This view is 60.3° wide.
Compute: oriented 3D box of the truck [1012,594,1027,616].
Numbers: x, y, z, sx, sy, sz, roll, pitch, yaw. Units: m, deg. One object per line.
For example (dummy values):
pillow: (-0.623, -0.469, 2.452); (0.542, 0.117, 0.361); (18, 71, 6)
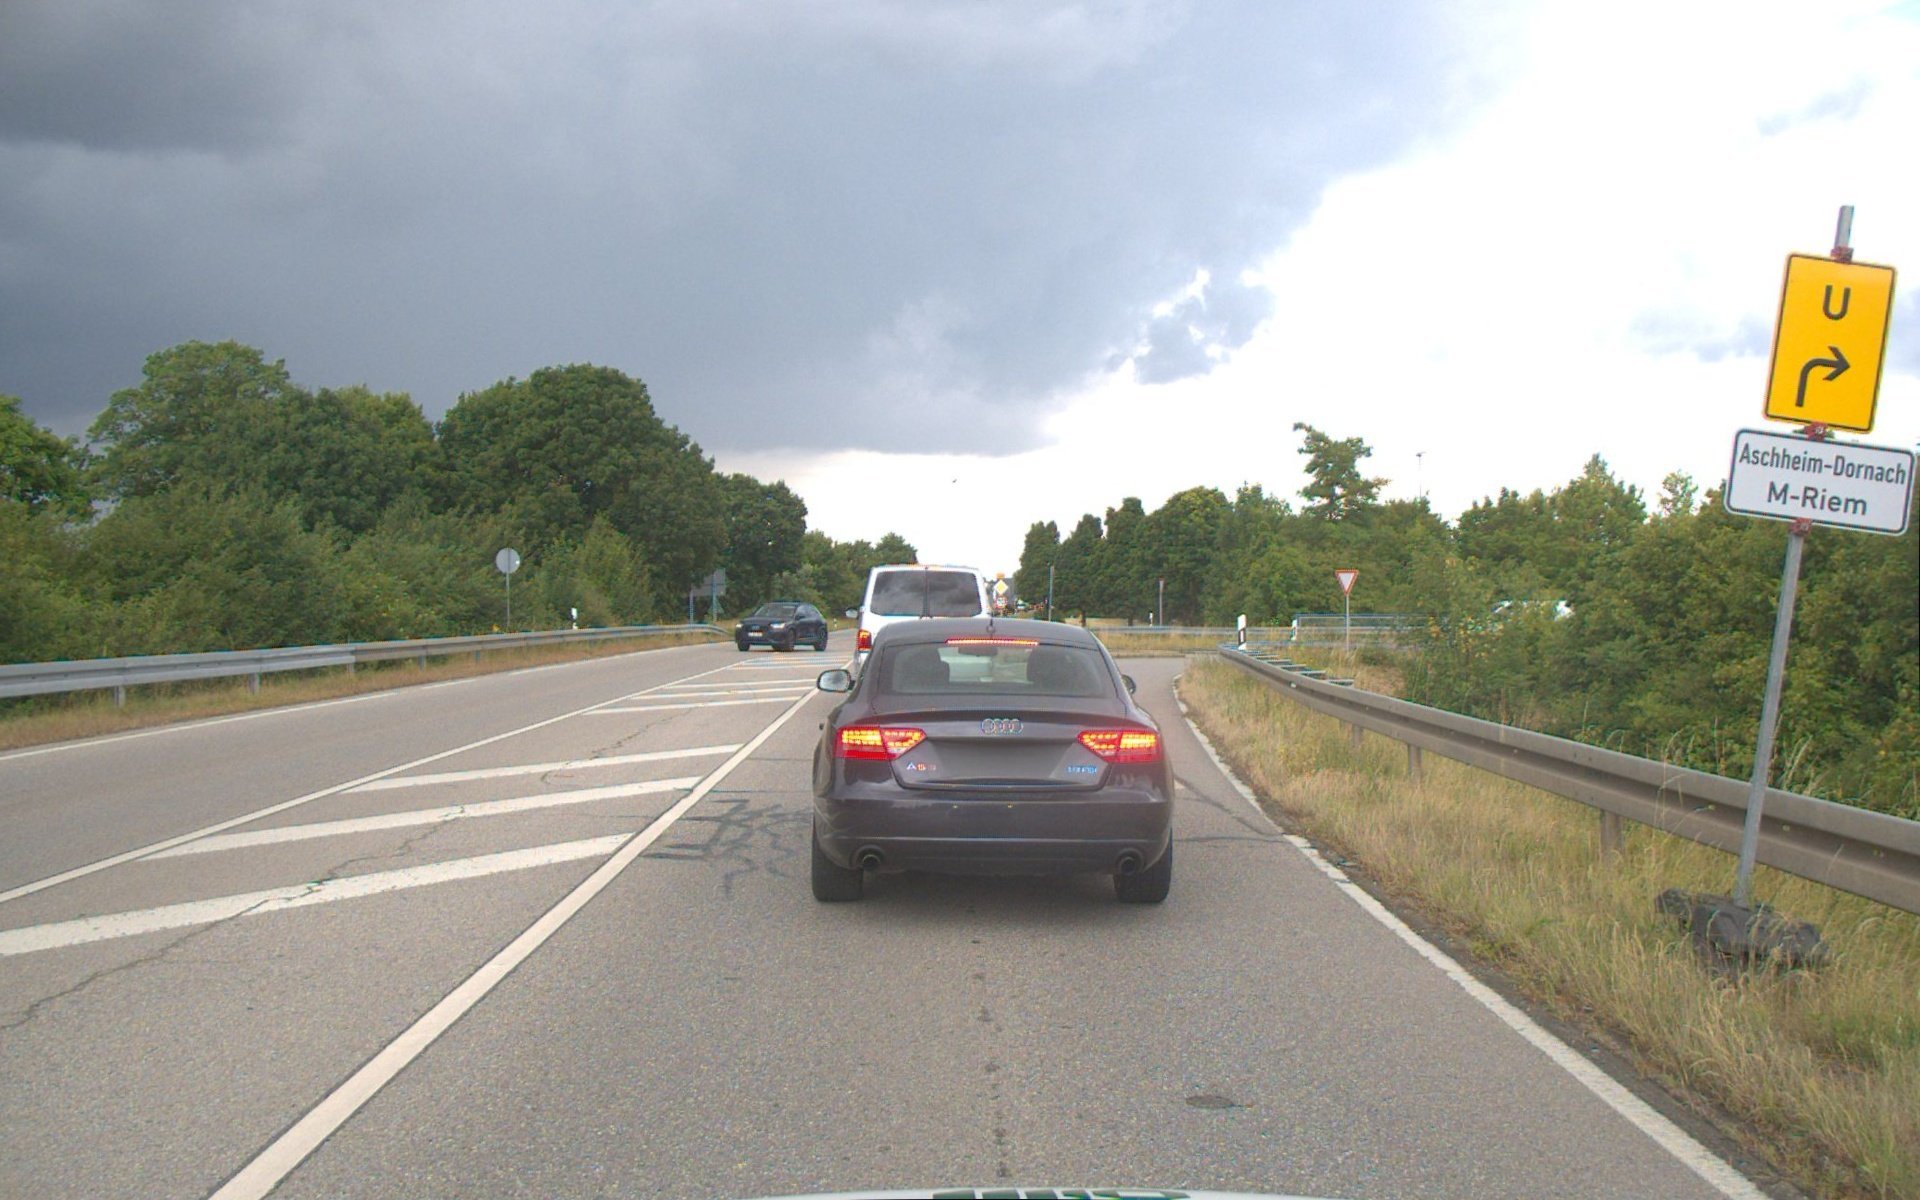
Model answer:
truck: (8.232, 0.715, 229.005); (1.952, 2.969, 5.794); (1, 0, 1)

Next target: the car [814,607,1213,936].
car: (0.177, 0.760, 8.910); (1.744, 1.423, 3.335); (0, 0, -2)

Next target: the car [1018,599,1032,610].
car: (9.697, 0.668, 247.133); (1.952, 1.722, 4.000); (1, 0, 1)

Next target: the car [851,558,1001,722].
car: (-0.499, 0.499, 22.936); (1.872, 2.049, 3.998); (1, 0, -2)

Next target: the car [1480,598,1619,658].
car: (23.508, 1.107, 66.084); (4.758, 2.100, 2.089); (3, 0, 4)

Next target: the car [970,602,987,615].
car: (2.467, 1.155, 223.744); (2.161, 1.610, 4.377); (1, 0, -2)

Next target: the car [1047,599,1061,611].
car: (13.660, 0.730, 240.123); (1.836, 1.722, 4.002); (1, 0, 4)

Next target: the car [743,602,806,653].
car: (-6.051, 0.878, 54.224); (1.675, 1.545, 4.208); (1, 0, -2)

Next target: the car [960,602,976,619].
car: (1.051, 1.348, 205.668); (1.952, 2.049, 4.000); (1, 0, 0)
